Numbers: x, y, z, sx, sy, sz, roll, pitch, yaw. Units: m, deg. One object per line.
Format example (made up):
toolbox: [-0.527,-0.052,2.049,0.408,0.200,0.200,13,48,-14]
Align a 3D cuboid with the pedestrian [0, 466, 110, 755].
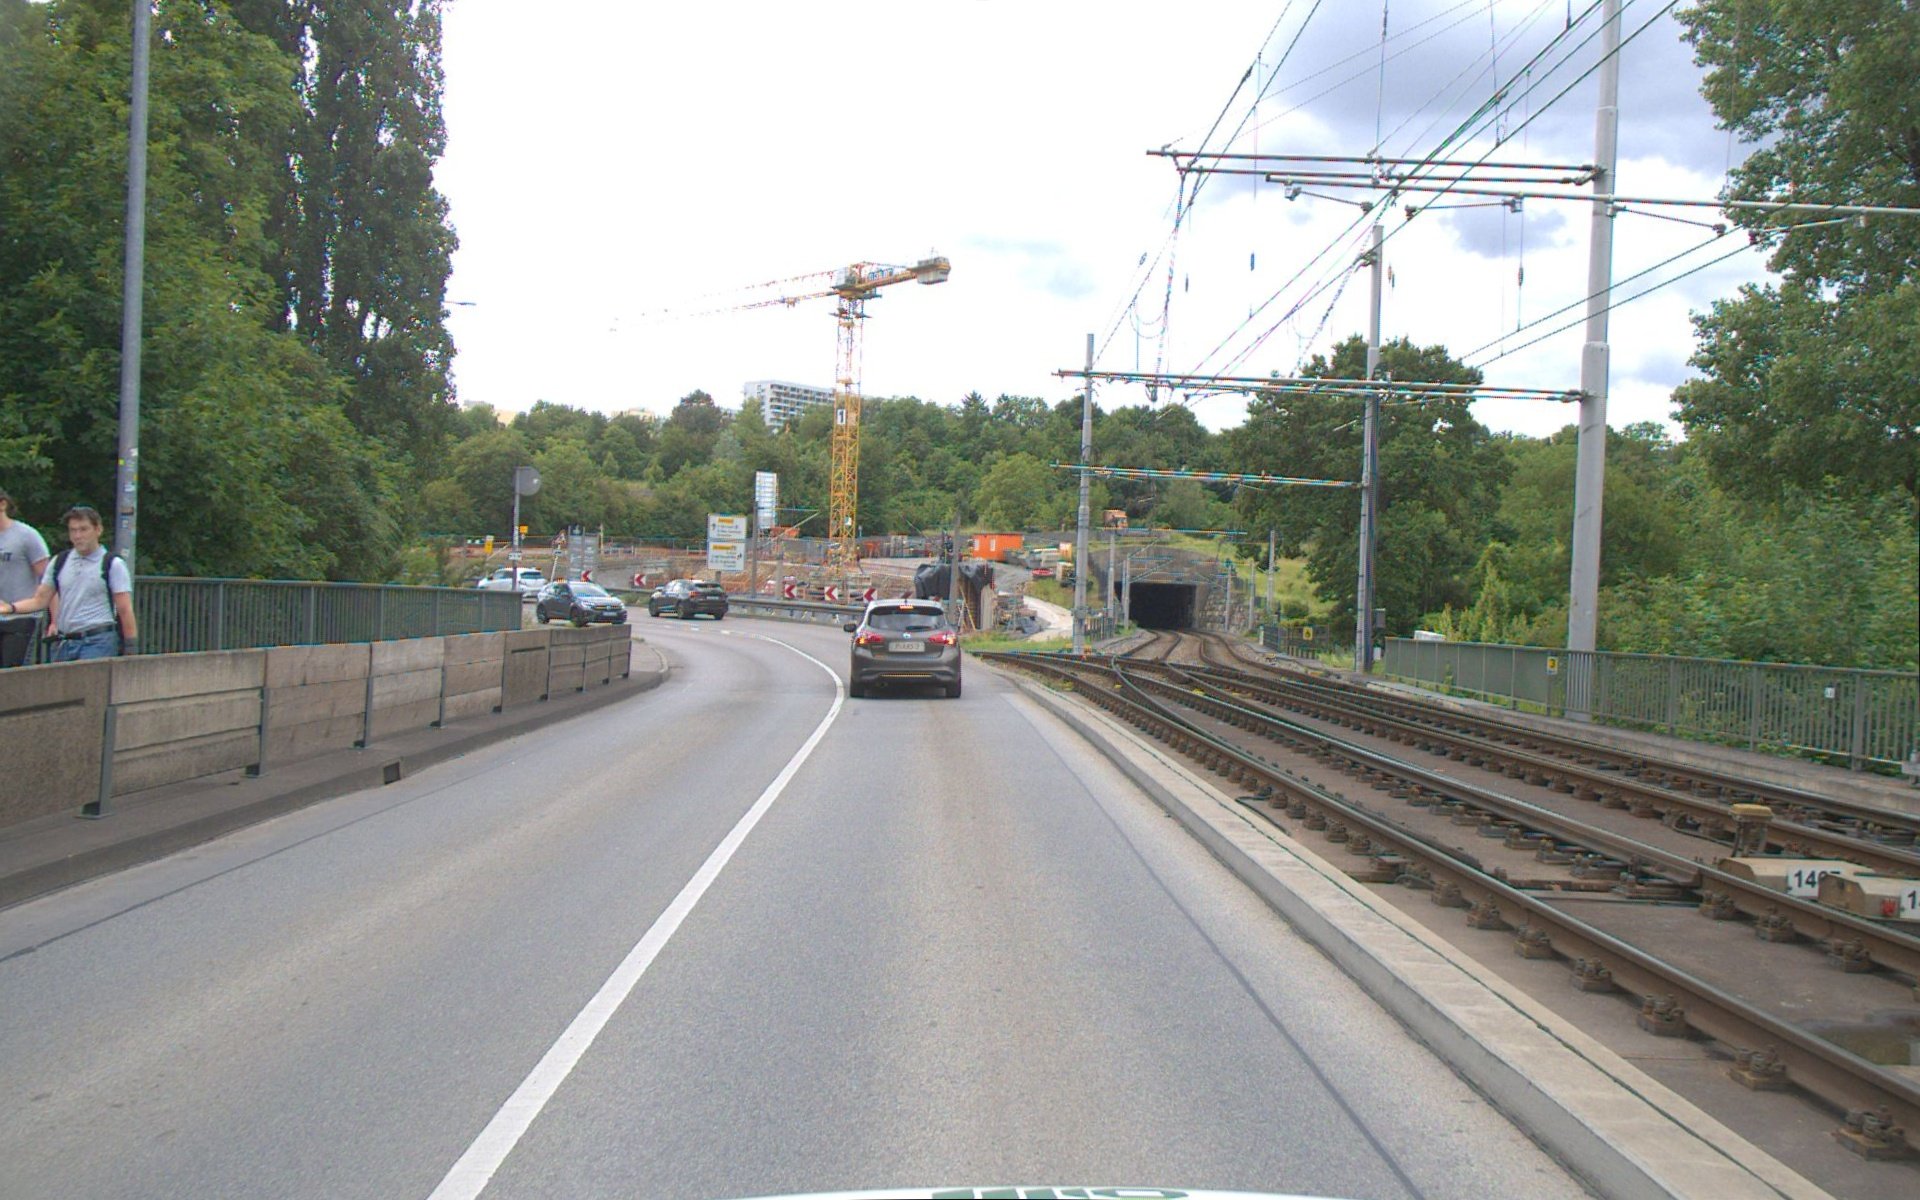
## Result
pedestrian: [-6.278,0.061,11.113,0.706,1.871,0.723,2,0,-2]

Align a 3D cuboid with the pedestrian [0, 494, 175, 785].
pedestrian: [-5.431,0.235,10.294,0.706,1.731,0.723,2,0,-2]

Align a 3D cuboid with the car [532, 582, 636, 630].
car: [-12.734,0.181,55.923,1.819,1.536,3.941,0,0,-41]

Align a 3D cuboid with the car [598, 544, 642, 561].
car: [-33.487,-4.713,163.060,3.909,1.434,1.798,3,0,26]

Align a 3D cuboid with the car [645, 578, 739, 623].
car: [-10.352,0.006,63.647,1.669,1.634,4.248,1,1,-39]

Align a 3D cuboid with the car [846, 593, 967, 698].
car: [-0.810,0.678,26.930,1.792,1.536,4.000,1,0,0]

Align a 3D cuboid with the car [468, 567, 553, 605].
car: [-20.357,-0.654,74.861,4.233,1.634,1.675,2,1,42]
